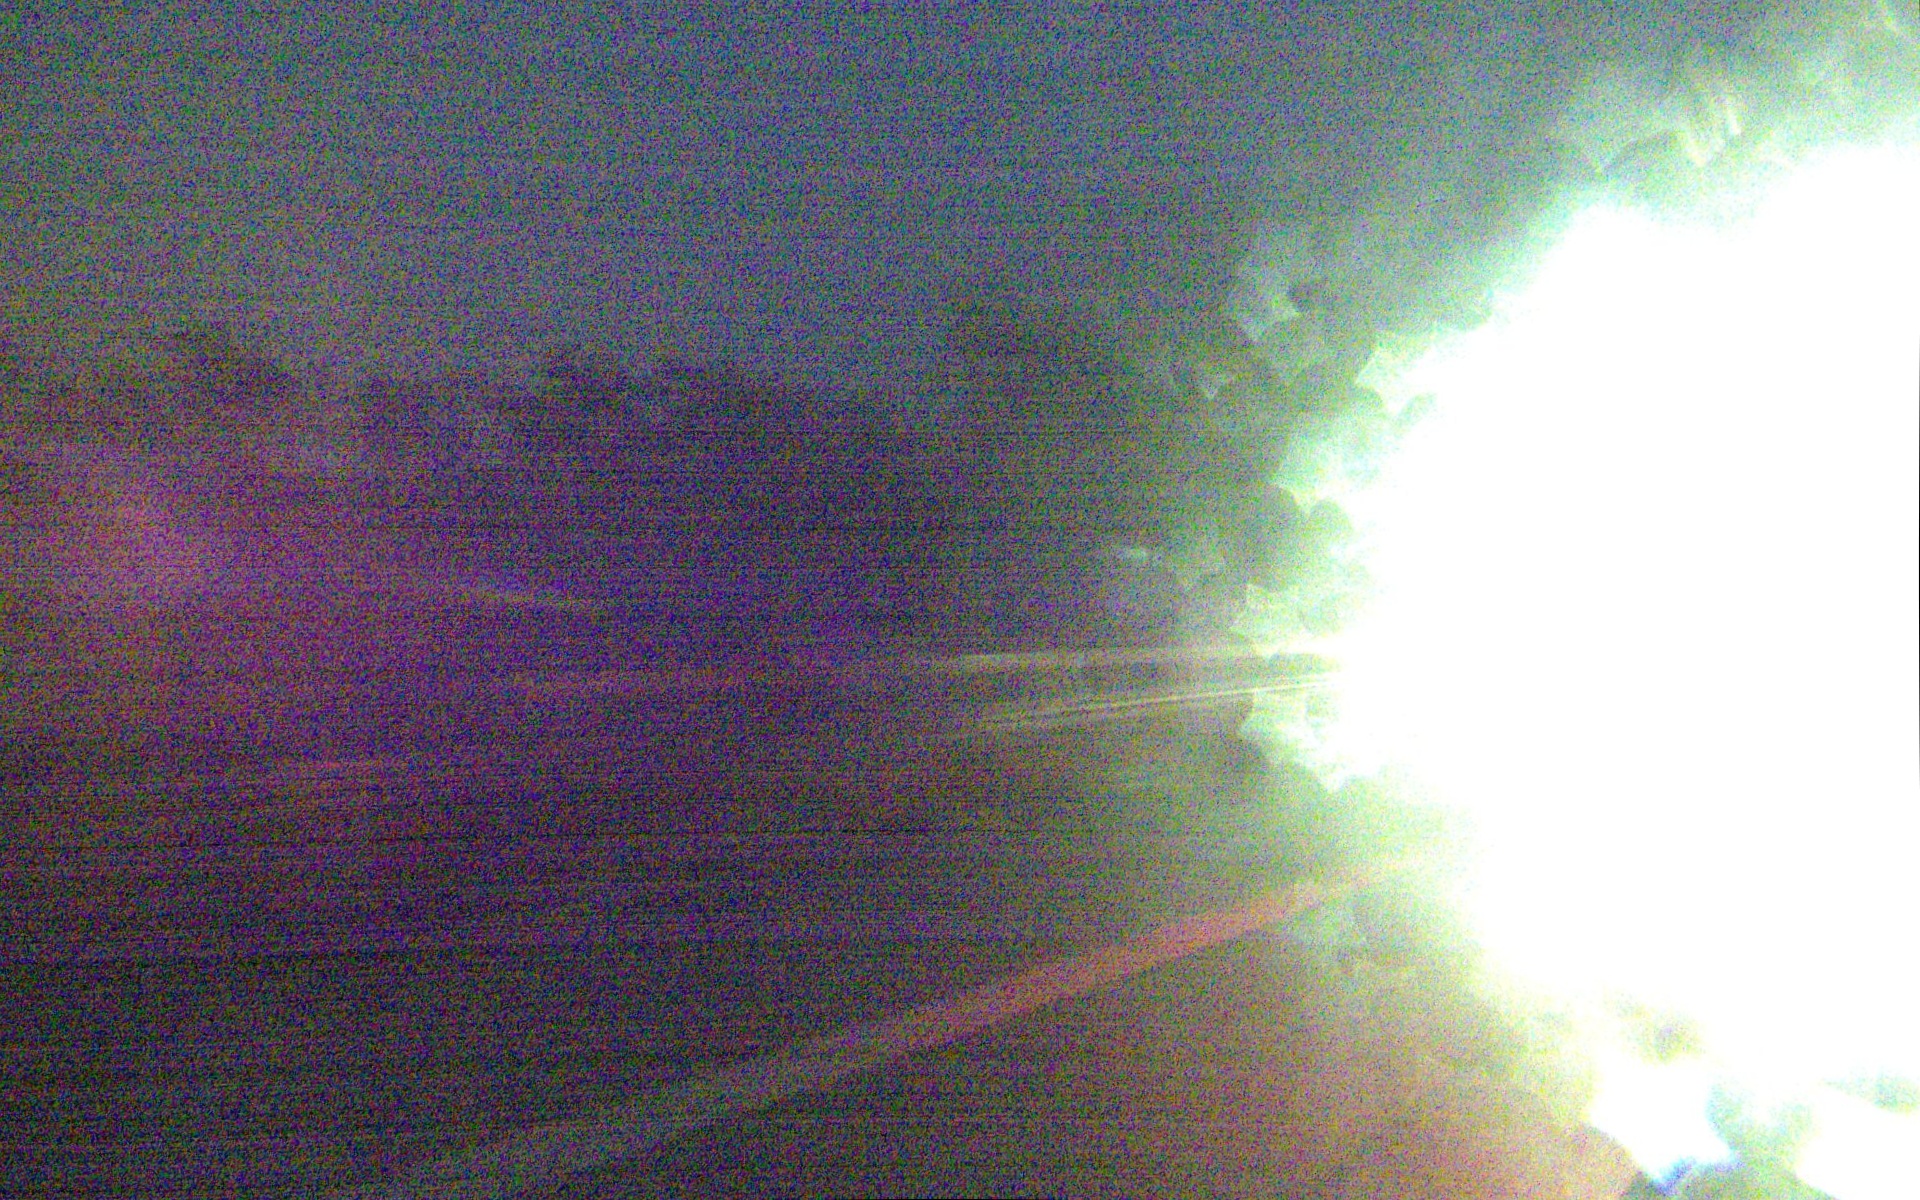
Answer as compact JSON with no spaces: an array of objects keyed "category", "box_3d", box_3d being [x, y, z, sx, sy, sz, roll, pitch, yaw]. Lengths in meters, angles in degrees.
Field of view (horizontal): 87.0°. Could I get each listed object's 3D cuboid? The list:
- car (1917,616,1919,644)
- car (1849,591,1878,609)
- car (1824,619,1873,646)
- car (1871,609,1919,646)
[{"category":"car","box_3d":[54.241,1.664,55.498,1.988,1.580,4.526,-2,-1,37]},{"category":"car","box_3d":[96.591,0.023,108.266,1.989,1.831,3.945,-2,-1,38]},{"category":"car","box_3d":[52.308,1.884,59.647,1.803,1.505,3.536,-2,-1,36]},{"category":"car","box_3d":[40.197,1.137,43.129,1.805,1.505,3.531,-2,-1,40]}]
